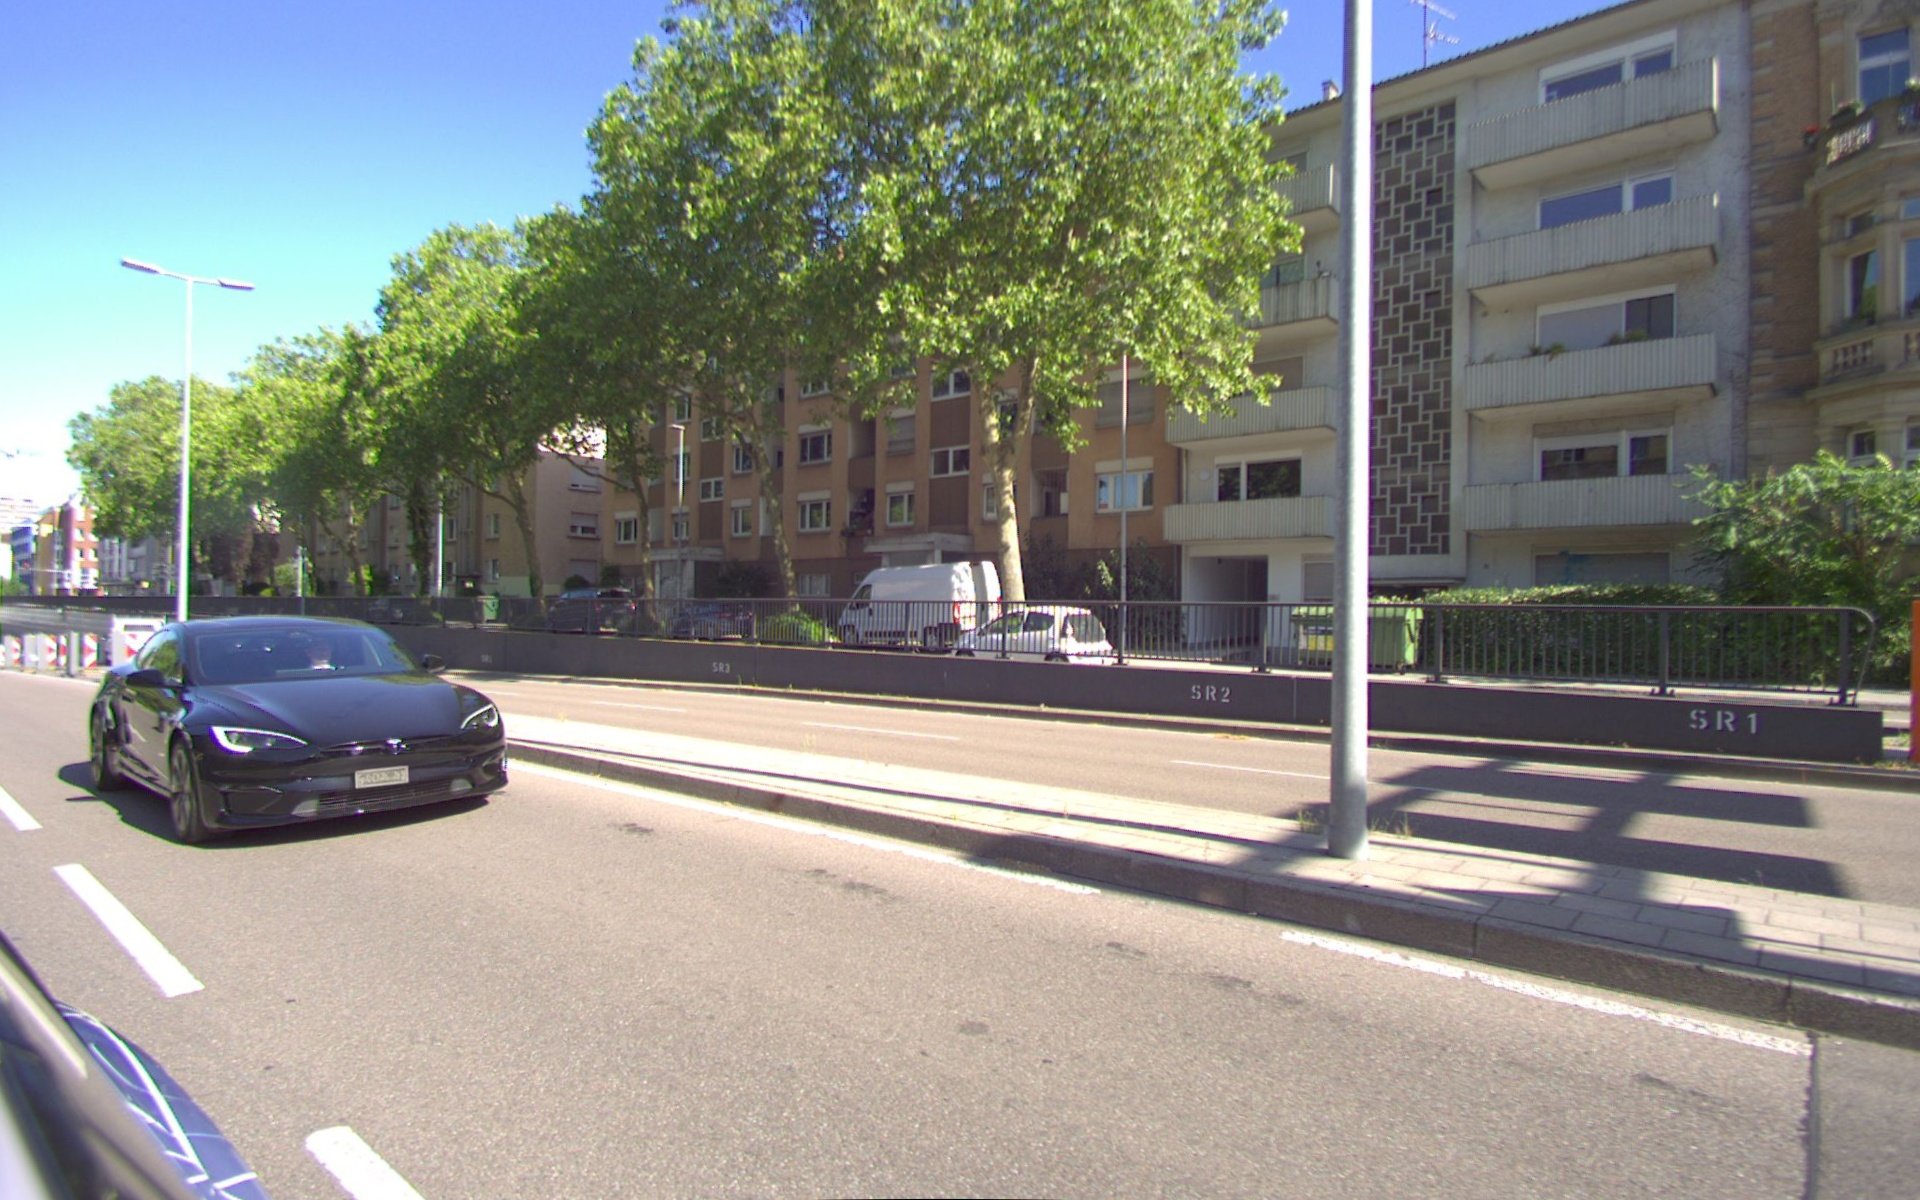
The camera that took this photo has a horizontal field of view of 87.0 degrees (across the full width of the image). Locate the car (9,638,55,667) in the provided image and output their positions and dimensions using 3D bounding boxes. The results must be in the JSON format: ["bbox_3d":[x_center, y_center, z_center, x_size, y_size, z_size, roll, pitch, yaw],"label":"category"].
[{"bbox_3d":[-69.396,3.914,75.686,3.996,2.029,1.974,-1,-1,39],"label":"car"}]

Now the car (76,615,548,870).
[{"bbox_3d":[-5.245,0.863,7.909,4.623,1.422,1.905,-2,-2,41],"label":"car"}]

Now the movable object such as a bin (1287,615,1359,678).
[{"bbox_3d":[8.174,1.059,22.800,1.314,1.373,0.883,-2,-4,41],"label":"movable object such as a bin"}]

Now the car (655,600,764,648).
[{"bbox_3d":[-9.177,0.913,36.942,3.999,1.592,1.972,-2,-4,42],"label":"car"}]

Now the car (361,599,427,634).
[{"bbox_3d":[-31.969,0.969,57.138,3.998,1.864,1.973,-2,-4,41],"label":"car"}]

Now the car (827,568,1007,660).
[{"bbox_3d":[-1.364,0.490,29.922,5.286,2.465,2.220,-2,-4,43],"label":"car"}]

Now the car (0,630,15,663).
[{"bbox_3d":[-65.223,3.100,67.472,5.631,2.101,2.420,-2,-2,38],"label":"car"}]

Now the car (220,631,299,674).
[{"bbox_3d":[-26.033,1.916,37.578,3.296,1.485,1.641,-1,-1,41],"label":"car"}]

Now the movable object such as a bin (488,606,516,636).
[{"bbox_3d":[-25.249,1.164,55.788,1.253,1.654,0.873,-2,-4,41],"label":"movable object such as a bin"}]

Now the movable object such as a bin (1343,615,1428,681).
[{"bbox_3d":[9.168,1.034,21.823,1.474,1.371,0.883,-2,-4,43],"label":"movable object such as a bin"}]

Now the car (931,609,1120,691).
[{"bbox_3d":[1.288,0.964,20.874,3.688,1.498,1.611,-1,0,42],"label":"car"}]

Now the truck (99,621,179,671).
[{"bbox_3d":[-41.881,2.342,51.600,5.365,2.413,2.255,-2,-4,42],"label":"truck"}]

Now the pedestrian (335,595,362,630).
[{"bbox_3d":[-33.177,0.686,54.900,1.018,1.814,0.890,-2,-4,37],"label":"pedestrian"}]

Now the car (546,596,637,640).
[{"bbox_3d":[-15.495,0.782,42.459,3.999,1.766,1.972,-2,-3,42],"label":"car"}]
